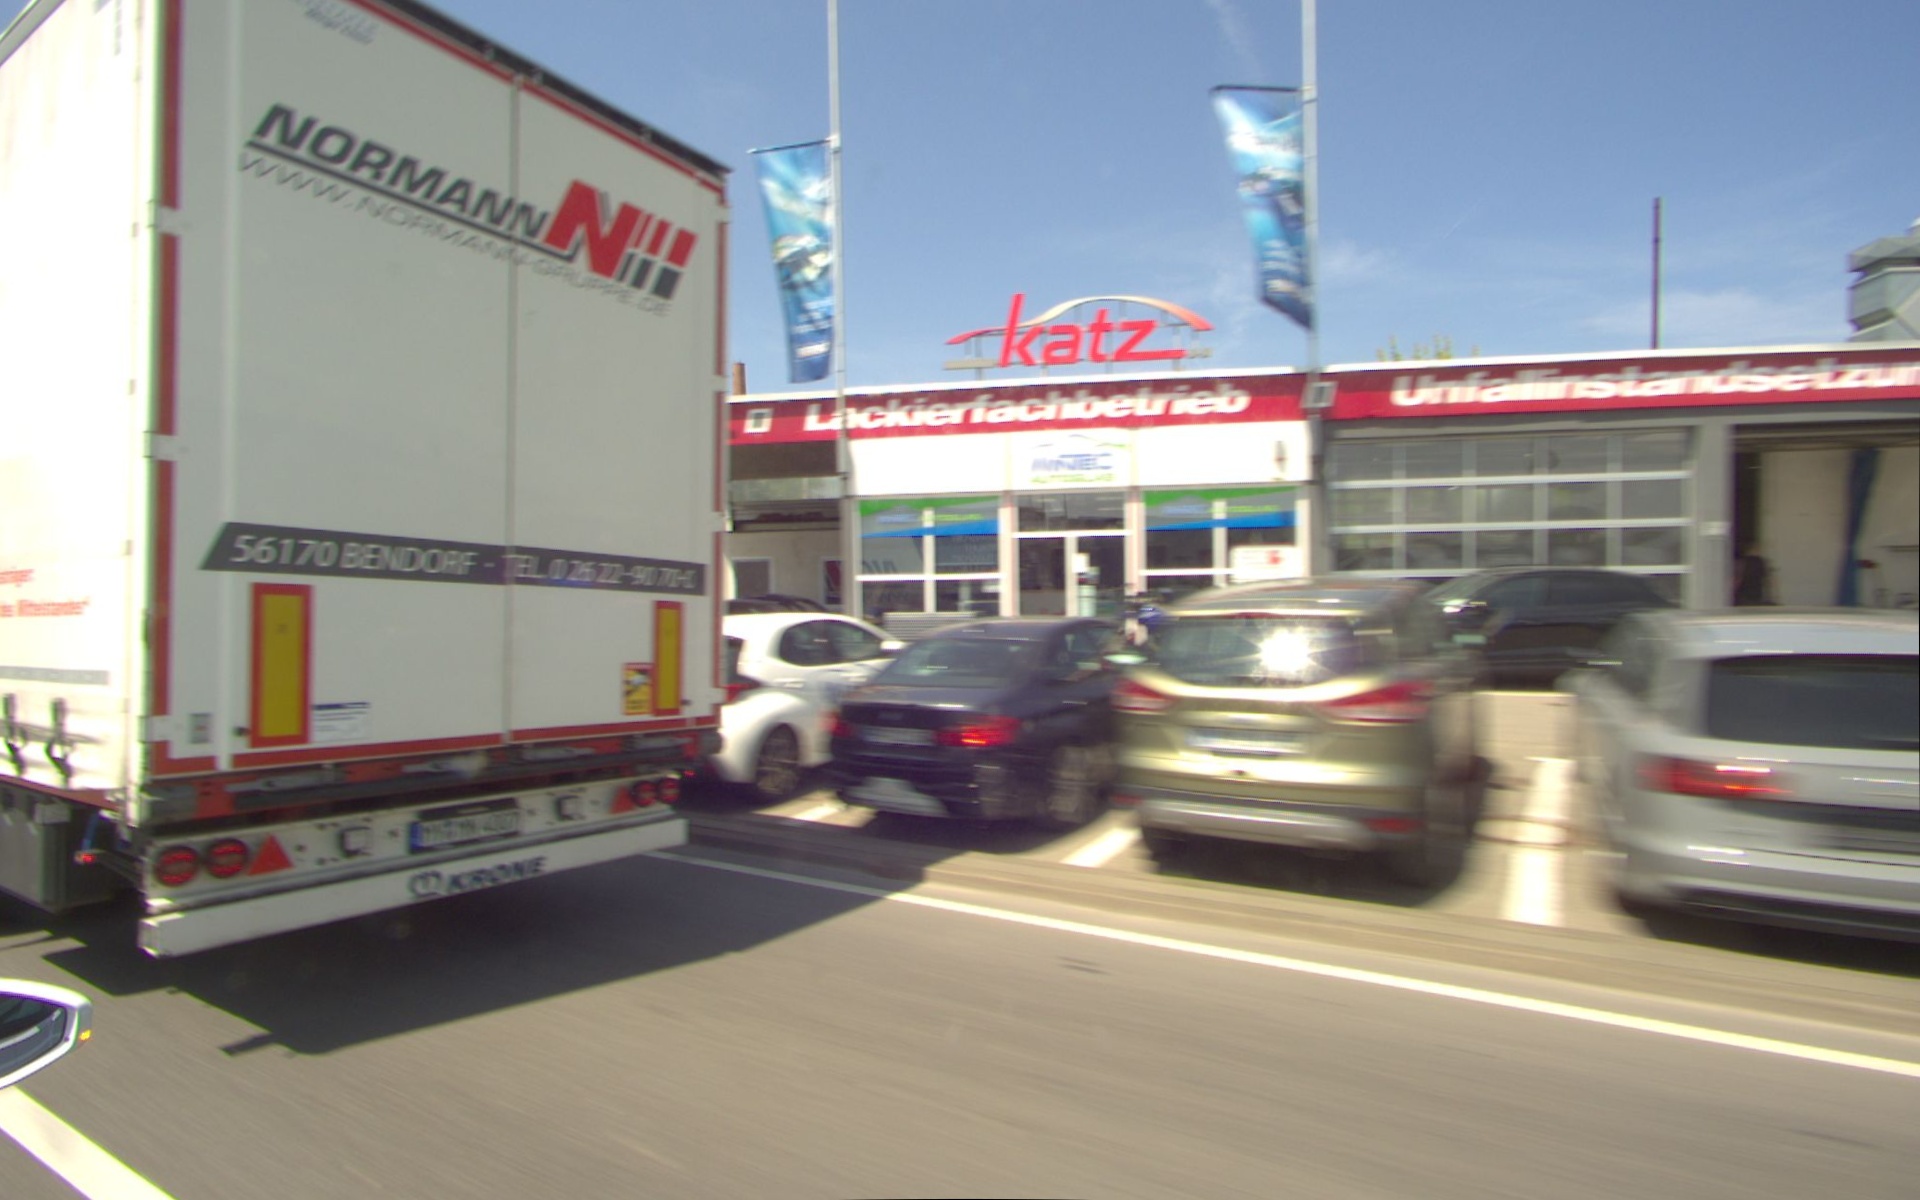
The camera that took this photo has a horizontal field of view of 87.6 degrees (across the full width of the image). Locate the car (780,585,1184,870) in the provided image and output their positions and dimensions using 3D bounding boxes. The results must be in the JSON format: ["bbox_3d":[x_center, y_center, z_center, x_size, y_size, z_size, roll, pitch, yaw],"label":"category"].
[{"bbox_3d":[0.409,0.779,8.098,1.805,1.499,3.518,-1,5,29],"label":"car"}]

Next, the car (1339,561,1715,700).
[{"bbox_3d":[7.633,0.374,13.951,4.088,1.681,1.950,-1,5,11],"label":"car"}]

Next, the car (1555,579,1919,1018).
[{"bbox_3d":[4.513,0.739,5.690,1.765,1.442,4.127,-1,4,28],"label":"car"}]

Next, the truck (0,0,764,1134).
[{"bbox_3d":[-9.068,-0.399,8.997,17.391,4.147,2.966,-1,-1,34],"label":"truck"}]

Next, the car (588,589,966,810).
[{"bbox_3d":[-1.594,0.787,9.923,1.805,1.499,3.518,-1,5,29],"label":"car"}]

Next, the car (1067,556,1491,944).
[{"bbox_3d":[2.445,0.657,6.883,1.915,1.715,3.844,0,4,31],"label":"car"}]
